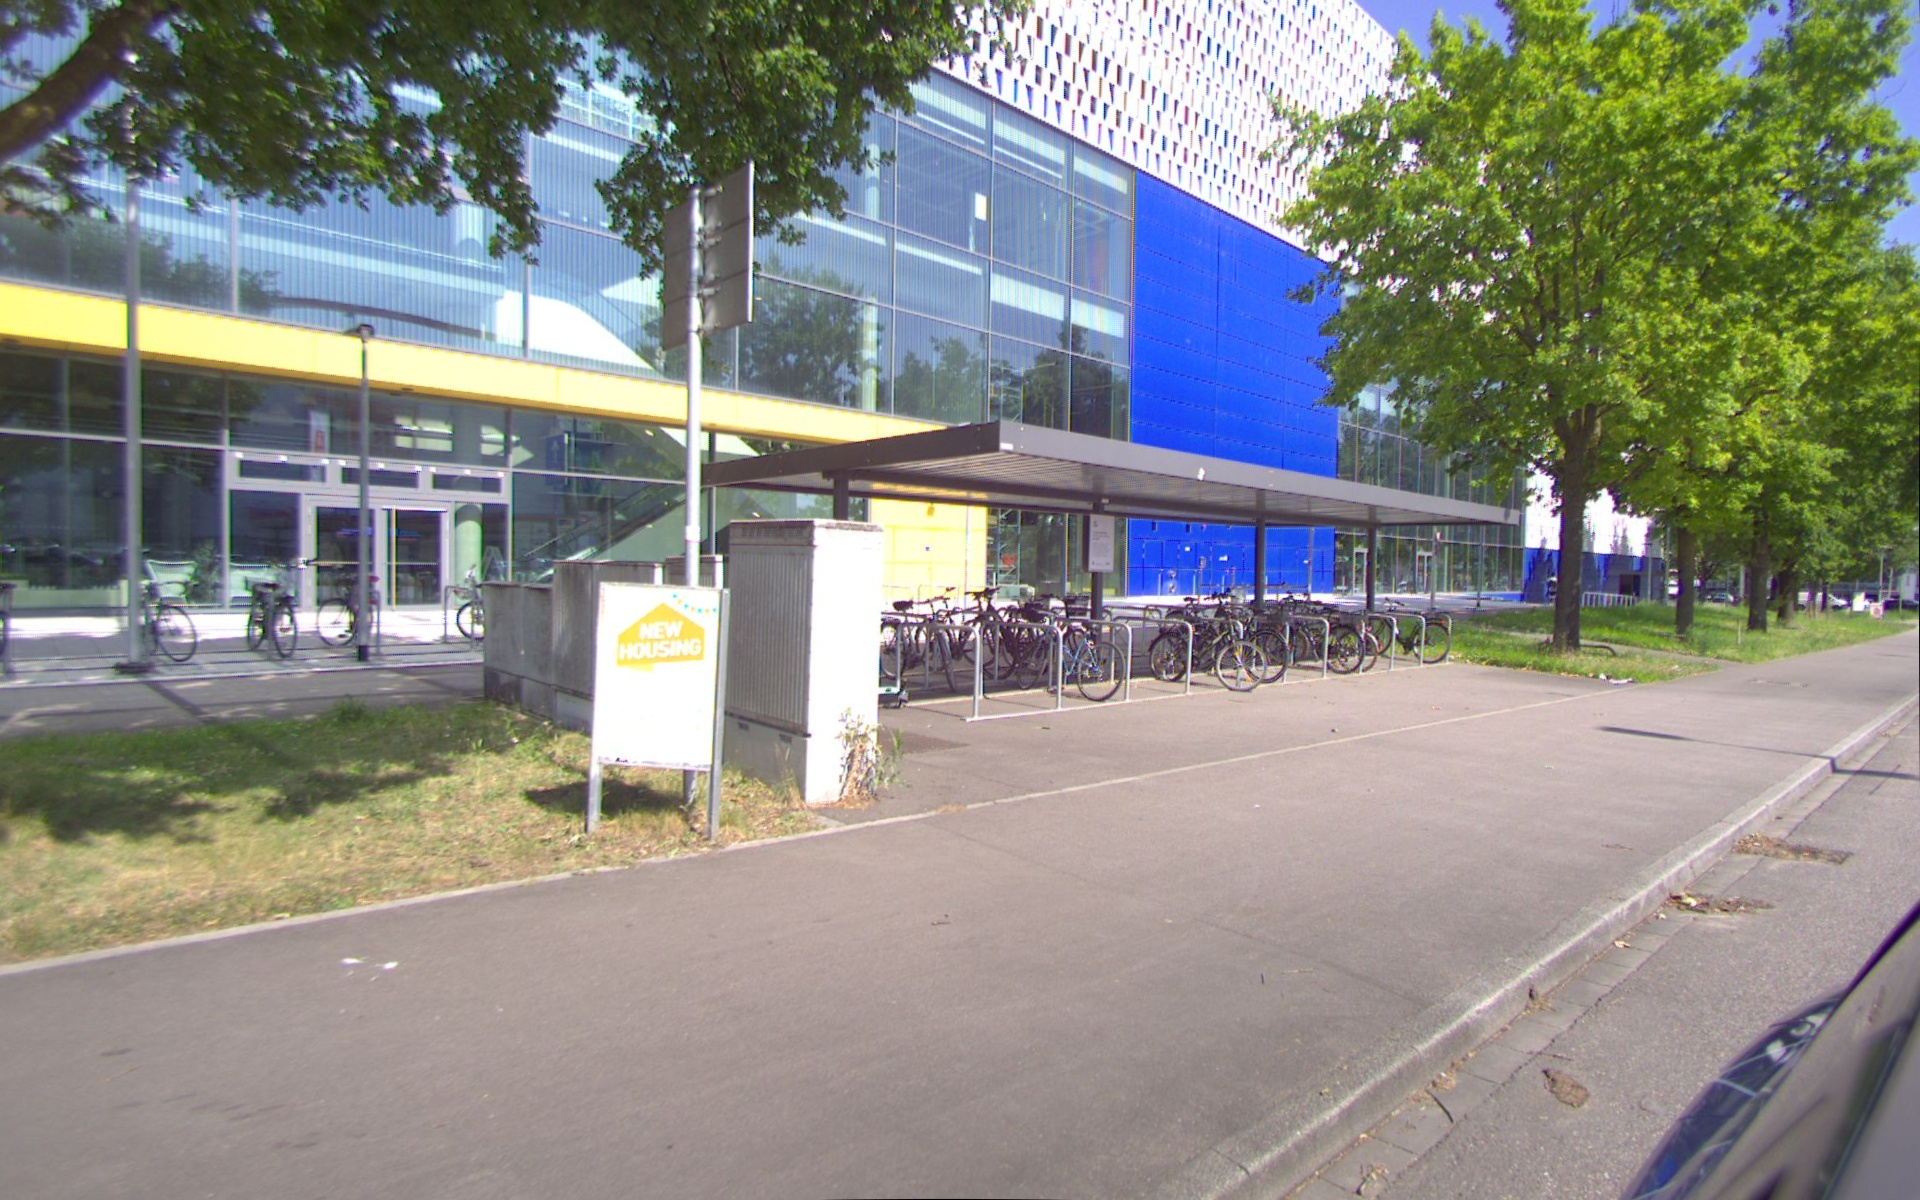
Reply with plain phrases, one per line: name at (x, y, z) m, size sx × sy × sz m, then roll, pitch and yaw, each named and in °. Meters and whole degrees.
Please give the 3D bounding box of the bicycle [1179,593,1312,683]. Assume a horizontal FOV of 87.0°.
bicycle at (3.880, 0.490, 13.880) m, size 0.444 × 1.110 × 1.761 m, roll 1°, pitch 2°, yaw -42°

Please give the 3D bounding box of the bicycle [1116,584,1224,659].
bicycle at (3.370, 0.320, 16.384) m, size 0.444 × 1.110 × 1.761 m, roll 1°, pitch 2°, yaw -42°

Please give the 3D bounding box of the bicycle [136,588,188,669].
bicycle at (-9.380, 0.304, 11.885) m, size 0.426 × 0.854 × 1.565 m, roll 1°, pitch 1°, yaw -40°

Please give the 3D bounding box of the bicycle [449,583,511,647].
bicycle at (-7.017, 0.197, 14.764) m, size 0.426 × 0.854 × 1.565 m, roll 1°, pitch 1°, yaw -40°

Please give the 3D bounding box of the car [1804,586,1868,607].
car at (94.391, -0.408, 109.078) m, size 1.712 × 2.032 × 4.989 m, roll -2°, pitch 3°, yaw -43°

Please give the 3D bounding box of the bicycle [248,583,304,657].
bicycle at (-8.729, 0.230, 12.897) m, size 0.426 × 0.854 × 1.565 m, roll 1°, pitch 1°, yaw -40°

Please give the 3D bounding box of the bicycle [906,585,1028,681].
bicycle at (0.058, 0.391, 13.073) m, size 0.444 × 1.110 × 1.832 m, roll 1°, pitch 2°, yaw -42°

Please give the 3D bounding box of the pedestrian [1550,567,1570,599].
pedestrian at (30.452, -0.865, 51.367) m, size 0.688 × 1.632 × 0.759 m, roll 3°, pitch 2°, yaw 44°

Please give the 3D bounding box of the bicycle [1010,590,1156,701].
bicycle at (1.355, 0.478, 11.471) m, size 0.444 × 1.110 × 1.761 m, roll 1°, pitch 2°, yaw -42°

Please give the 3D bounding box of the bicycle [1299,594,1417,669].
bicycle at (6.468, 0.489, 16.530) m, size 0.444 × 1.110 × 1.761 m, roll 1°, pitch 2°, yaw -42°

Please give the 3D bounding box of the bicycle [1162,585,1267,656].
bicycle at (4.288, 0.323, 17.173) m, size 0.444 × 1.110 × 1.761 m, roll 1°, pitch 2°, yaw -42°

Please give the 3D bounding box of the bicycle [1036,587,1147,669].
bicycle at (1.931, 0.391, 15.101) m, size 0.444 × 1.110 × 1.761 m, roll 1°, pitch 2°, yaw -42°

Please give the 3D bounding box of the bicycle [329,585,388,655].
bicycle at (-8.099, 0.246, 13.609) m, size 0.426 × 0.854 × 1.565 m, roll 1°, pitch 1°, yaw -40°

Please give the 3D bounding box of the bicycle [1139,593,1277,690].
bicycle at (3.157, 0.500, 13.026) m, size 0.444 × 1.110 × 1.761 m, roll 1°, pitch 2°, yaw -42°

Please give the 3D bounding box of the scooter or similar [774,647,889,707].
scooter or similar at (-1.311, 0.761, 10.193) m, size 0.941 × 0.456 × 0.921 m, roll 0°, pitch 3°, yaw -22°

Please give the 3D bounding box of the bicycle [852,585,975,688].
bicycle at (-0.587, 0.400, 12.129) m, size 0.444 × 1.110 × 1.761 m, roll 1°, pitch 2°, yaw -42°

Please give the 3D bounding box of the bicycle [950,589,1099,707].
bicycle at (0.650, 0.470, 10.785) m, size 0.444 × 1.110 × 1.761 m, roll 1°, pitch 2°, yaw -42°

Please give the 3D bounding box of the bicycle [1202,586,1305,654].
bicycle at (5.200, 0.337, 18.027) m, size 0.444 × 1.110 × 1.761 m, roll 1°, pitch 2°, yaw -42°

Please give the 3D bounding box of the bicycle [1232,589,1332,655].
bicycle at (5.966, 0.383, 18.827) m, size 0.444 × 1.110 × 1.761 m, roll 1°, pitch 2°, yaw -42°

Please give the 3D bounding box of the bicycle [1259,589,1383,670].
bicycle at (5.489, 0.421, 15.482) m, size 0.444 × 1.110 × 1.761 m, roll 1°, pitch 2°, yaw -42°

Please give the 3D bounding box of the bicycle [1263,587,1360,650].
bicycle at (6.754, 0.338, 19.517) m, size 0.444 × 1.110 × 1.761 m, roll 1°, pitch 2°, yaw -42°

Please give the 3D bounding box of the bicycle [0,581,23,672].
bicycle at (-10.548, 0.264, 11.011) m, size 0.426 × 0.921 × 1.565 m, roll 1°, pitch 1°, yaw -40°

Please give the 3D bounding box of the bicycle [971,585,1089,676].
bicycle at (0.917, 0.380, 13.732) m, size 0.444 × 1.110 × 1.761 m, roll 1°, pitch 2°, yaw -42°

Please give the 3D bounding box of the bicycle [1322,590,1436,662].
bicycle at (7.171, 0.423, 17.389) m, size 0.455 × 1.110 × 1.761 m, roll 1°, pitch 2°, yaw -42°

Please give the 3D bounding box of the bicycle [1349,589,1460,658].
bicycle at (7.928, 0.391, 18.099) m, size 0.444 × 1.109 × 1.761 m, roll 0°, pitch 2°, yaw -42°

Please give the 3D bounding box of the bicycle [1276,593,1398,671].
bicycle at (5.869, 0.471, 15.830) m, size 0.444 × 1.110 × 1.761 m, roll 1°, pitch 2°, yaw -42°
